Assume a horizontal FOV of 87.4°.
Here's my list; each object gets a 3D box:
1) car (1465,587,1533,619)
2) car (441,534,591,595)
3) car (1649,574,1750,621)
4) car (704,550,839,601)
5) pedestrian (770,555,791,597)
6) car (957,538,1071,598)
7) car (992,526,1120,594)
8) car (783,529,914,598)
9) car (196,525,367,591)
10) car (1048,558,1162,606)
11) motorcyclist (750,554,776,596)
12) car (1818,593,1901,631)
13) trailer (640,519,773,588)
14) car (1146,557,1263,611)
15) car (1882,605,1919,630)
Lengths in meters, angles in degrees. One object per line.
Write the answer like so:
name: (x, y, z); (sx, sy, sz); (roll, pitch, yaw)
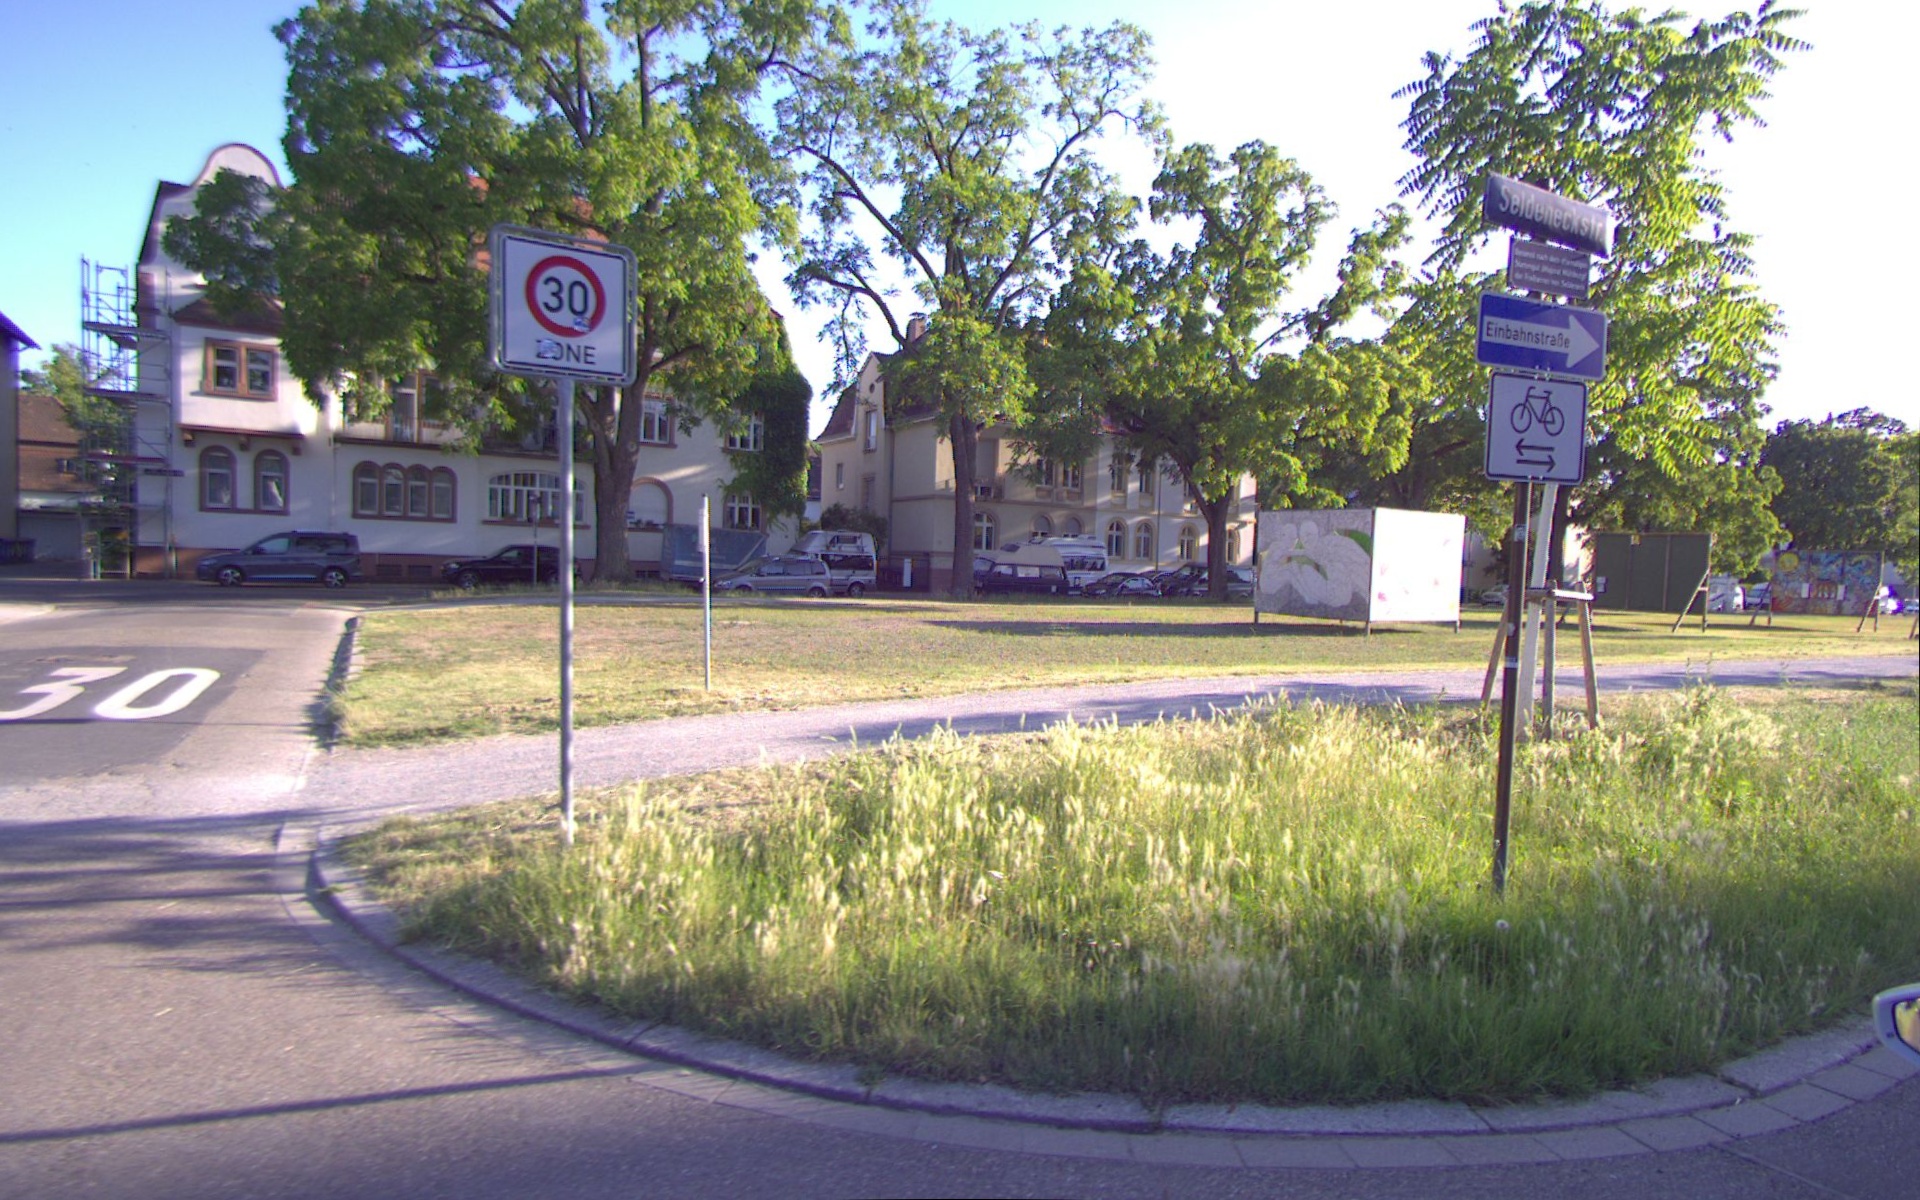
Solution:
car: (36.298, 0.192, 67.622); (4.433, 2.040, 1.983); (1, 0, -31)
car: (-15.956, -1.267, 36.147); (4.697, 1.979, 1.982); (1, 3, -32)
car: (51.576, -0.137, 70.026); (6.810, 3.033, 3.145); (1, 0, -30)
car: (-6.483, -0.843, 34.741); (4.263, 1.581, 1.676); (1, 3, -30)
pedestrian: (-6.809, -0.916, 38.128); (0.590, 1.552, 0.927); (1, 0, -22)
car: (2.168, -1.270, 39.864); (4.263, 2.205, 1.676); (1, 3, -30)
car: (4.608, -1.848, 48.136); (5.751, 2.961, 2.425); (1, 0, -31)
car: (-4.700, -1.514, 42.586); (5.126, 2.709, 1.984); (1, 3, -30)
car: (-21.753, -1.327, 32.417); (4.448, 1.902, 1.981); (1, 3, -33)
car: (6.139, -0.758, 42.466); (4.431, 1.817, 1.984); (1, 3, -30)
motorcyclist: (-7.441, -0.932, 37.858); (0.774, 1.552, 0.929); (1, 0, -22)
car: (75.700, 0.988, 84.517); (6.810, 3.033, 3.145); (1, 0, -30)
trailer: (-9.945, -1.807, 39.403); (4.668, 2.461, 1.984); (1, 3, -30)
car: (11.072, -0.707, 45.359); (5.126, 2.280, 1.983); (1, 3, -31)
car: (88.873, 1.656, 93.076); (6.810, 2.176, 3.145); (1, 0, -30)
